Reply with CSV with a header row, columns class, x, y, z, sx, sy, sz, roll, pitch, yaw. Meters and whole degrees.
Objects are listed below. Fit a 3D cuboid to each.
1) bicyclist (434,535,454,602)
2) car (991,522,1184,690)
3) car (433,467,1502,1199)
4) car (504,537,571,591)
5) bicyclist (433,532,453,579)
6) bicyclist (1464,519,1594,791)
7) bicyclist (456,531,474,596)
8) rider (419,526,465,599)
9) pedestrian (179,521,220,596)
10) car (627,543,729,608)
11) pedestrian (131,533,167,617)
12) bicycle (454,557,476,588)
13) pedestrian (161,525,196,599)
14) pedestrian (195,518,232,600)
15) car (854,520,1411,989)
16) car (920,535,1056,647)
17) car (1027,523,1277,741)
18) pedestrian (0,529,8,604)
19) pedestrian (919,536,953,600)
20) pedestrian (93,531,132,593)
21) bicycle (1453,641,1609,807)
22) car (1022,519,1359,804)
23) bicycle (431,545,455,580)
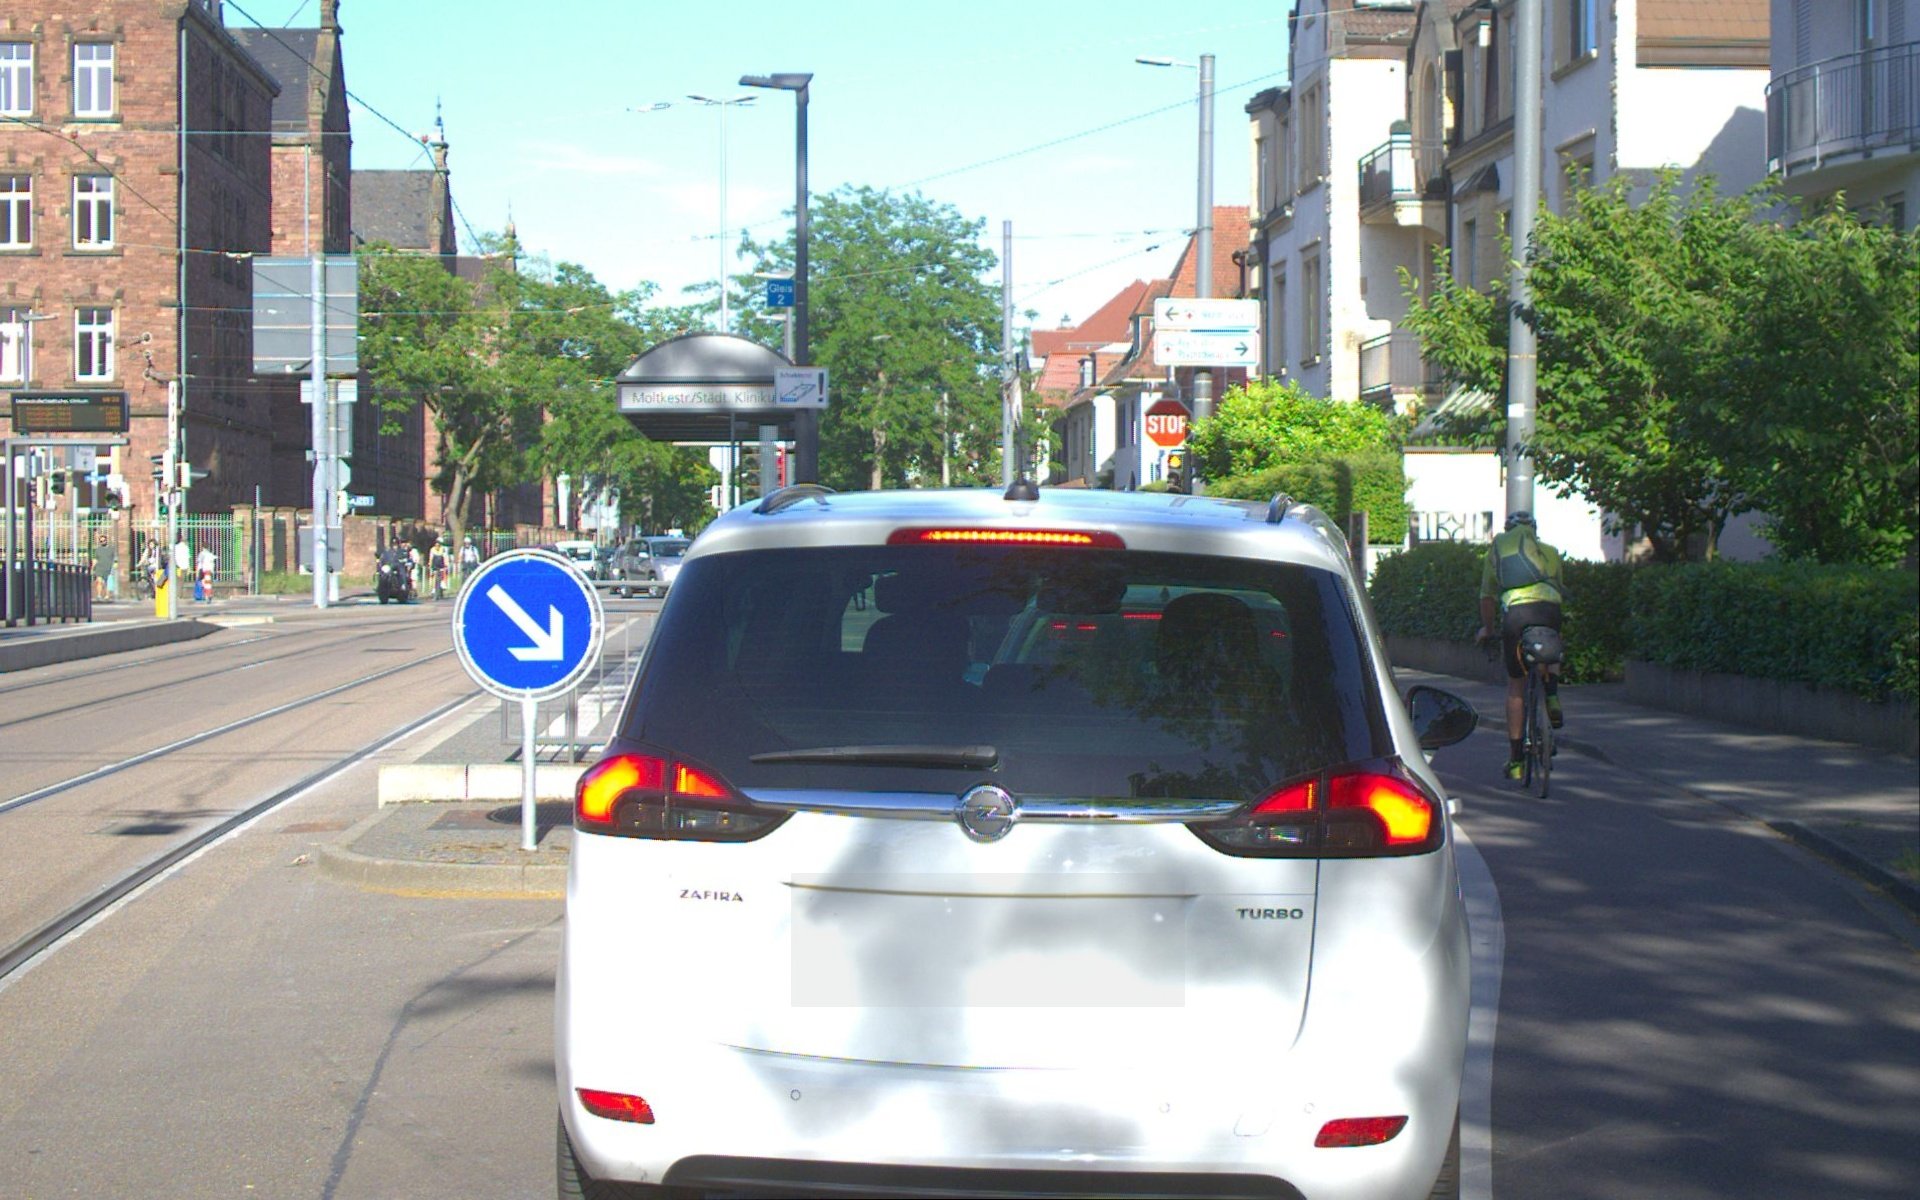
class,x,y,z,sx,sy,sz,roll,pitch,yaw
bicyclist,-15.557,-0.948,103.668,0.498,2.007,0.572,1,0,-1
car,1.289,0.023,36.120,1.907,1.656,4.000,0,1,1
car,0.228,0.556,8.093,1.907,1.656,3.999,0,1,7
car,-13.806,-1.183,112.530,1.746,1.710,4.000,1,1,-1
bicyclist,-16.218,-1.390,107.843,0.531,1.472,0.572,1,0,-1
bicyclist,3.504,0.328,21.229,0.676,1.652,0.745,0,1,0
bicyclist,-15.514,-1.138,107.759,0.488,2.007,0.502,1,0,-1
rider,-12.754,-0.919,84.680,0.795,1.776,2.488,1,1,-1
pedestrian,-20.433,-1.116,92.323,0.795,2.007,0.720,0,1,-45
car,-7.623,-0.676,92.557,1.746,1.710,4.001,1,1,-20
pedestrian,-19.582,-0.611,83.033,0.794,2.007,1.047,1,0,-15
bicycle,-15.514,-0.872,107.728,0.487,0.968,1.405,1,1,0
pedestrian,-21.236,-1.035,93.461,0.690,2.007,0.617,1,0,18
pedestrian,-18.457,-1.022,84.994,0.794,2.007,0.721,1,0,-17
car,0.817,0.488,13.784,1.907,1.592,3.999,0,1,7
car,0.393,-0.169,53.098,1.907,1.656,4.001,0,1,-2
car,1.609,0.207,28.283,1.907,1.656,4.000,0,1,4
pedestrian,-23.069,-0.801,81.761,0.766,1.768,0.721,1,0,-17
pedestrian,-0.710,-0.958,102.091,0.808,1.894,0.743,1,0,16
pedestrian,-22.445,-1.007,91.045,0.655,1.606,0.710,1,0,32
bicycle,3.508,0.745,21.258,0.676,0.922,1.885,0,1,1
car,1.542,0.311,21.623,1.907,1.619,3.999,0,1,7
bicycle,-16.244,-1.187,107.976,0.509,1.073,1.739,1,1,-1
